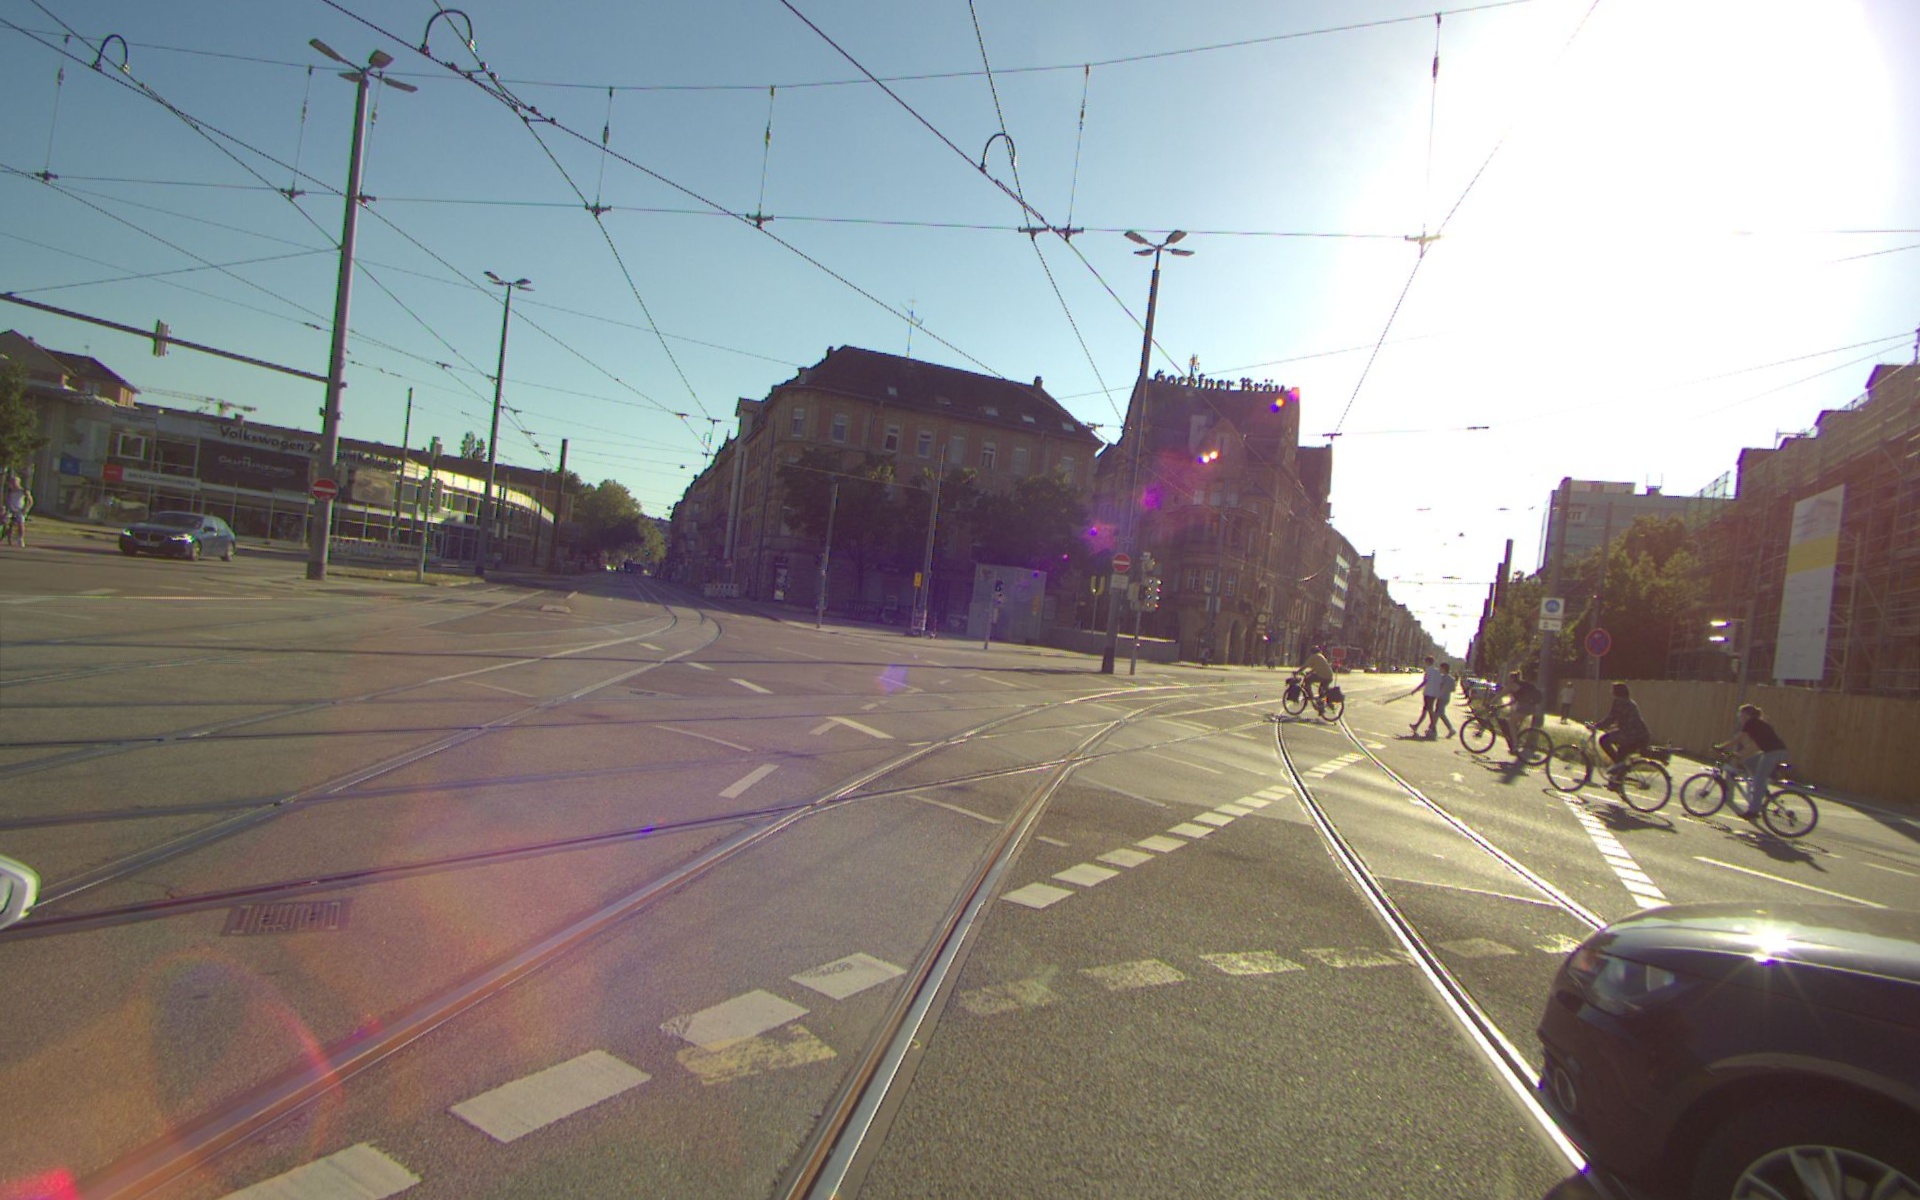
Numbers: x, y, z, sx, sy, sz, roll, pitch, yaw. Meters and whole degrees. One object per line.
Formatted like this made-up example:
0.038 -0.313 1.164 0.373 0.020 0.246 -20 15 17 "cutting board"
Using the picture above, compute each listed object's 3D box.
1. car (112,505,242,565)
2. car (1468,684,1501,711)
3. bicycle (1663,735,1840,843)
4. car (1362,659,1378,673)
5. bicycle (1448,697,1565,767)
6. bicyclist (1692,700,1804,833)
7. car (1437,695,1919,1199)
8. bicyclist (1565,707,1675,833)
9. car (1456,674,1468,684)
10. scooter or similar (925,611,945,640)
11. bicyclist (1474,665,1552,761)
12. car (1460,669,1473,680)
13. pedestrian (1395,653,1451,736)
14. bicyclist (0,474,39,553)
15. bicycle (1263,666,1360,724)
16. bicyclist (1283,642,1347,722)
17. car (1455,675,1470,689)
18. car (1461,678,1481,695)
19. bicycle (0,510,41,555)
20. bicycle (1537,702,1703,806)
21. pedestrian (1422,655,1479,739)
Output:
-23.952 -1.926 30.962 1.973 1.471 3.980 7 0 -21 "car"
35.126 6.553 67.450 1.725 1.480 4.018 6 -2 26 "car"
11.154 2.647 14.233 0.644 1.136 1.757 10 -1 -39 "bicycle"
70.975 11.486 174.319 1.962 2.036 4.005 9 -2 17 "car"
10.840 2.607 20.038 0.641 1.040 1.892 8 0 -29 "bicycle"
11.172 2.345 14.273 0.644 1.680 0.964 9 -1 -39 "bicyclist"
3.302 1.186 2.010 1.684 1.405 3.787 7 0 -41 "car"
9.517 2.439 14.538 0.639 1.587 0.971 9 -1 -20 "bicyclist"
90.191 14.198 180.838 1.725 1.480 4.018 6 -2 26 "car"
-1.175 1.186 47.211 0.717 1.215 1.446 8 0 1 "scooter or similar"
10.939 2.231 19.920 0.641 1.716 0.968 8 0 -29 "bicyclist"
83.338 12.194 165.613 1.725 1.480 4.018 6 -2 26 "car"
11.196 2.267 24.347 0.679 1.870 0.819 9 -1 -5 "pedestrian"
-25.834 -2.345 27.235 1.022 2.040 1.135 4 2 -30 "bicyclist"
8.359 2.257 24.037 0.760 1.040 2.089 8 0 -29 "bicycle"
8.448 1.943 23.941 0.760 1.716 0.967 8 0 -29 "bicyclist"
68.408 11.173 137.000 1.725 1.480 4.018 6 -2 26 "car"
54.461 9.216 107.208 1.725 1.480 4.018 6 -2 26 "car"
-25.907 -1.843 27.181 1.022 1.138 2.511 5 1 -30 "bicycle"
9.530 2.192 14.616 0.639 1.136 1.895 9 -1 -20 "bicycle"
11.883 2.338 24.404 0.679 1.870 0.819 9 -1 -5 "pedestrian"
